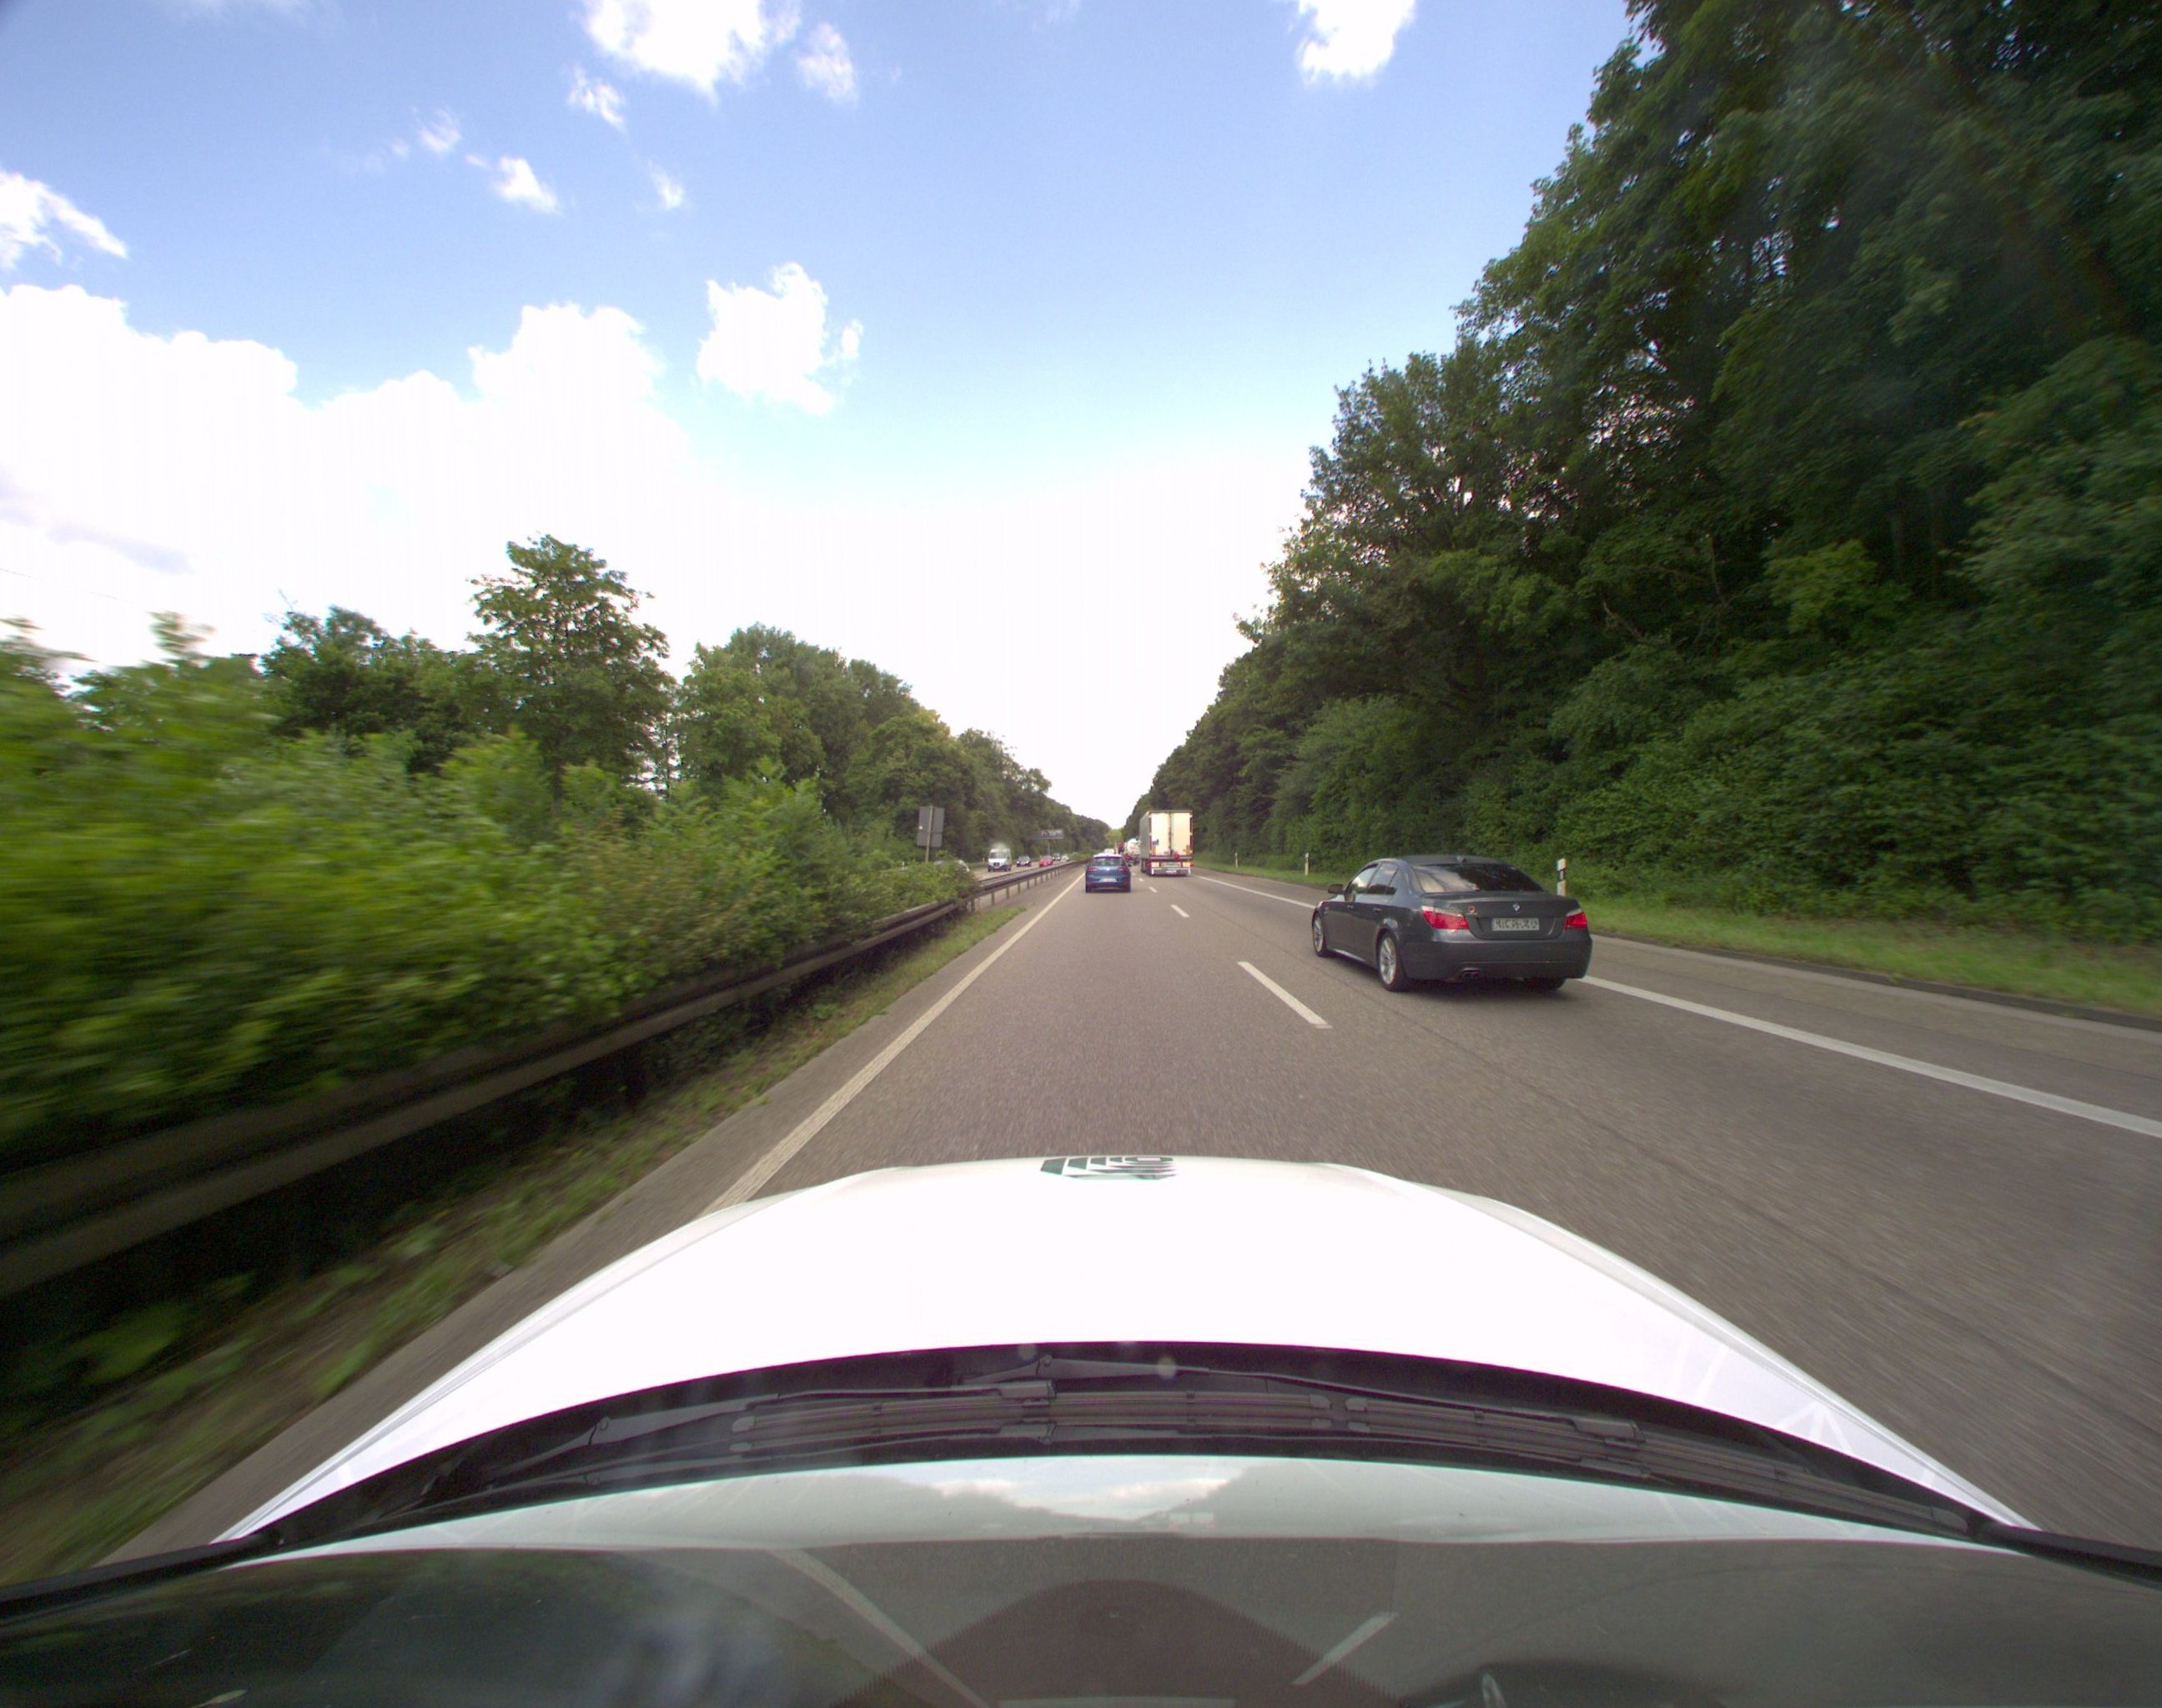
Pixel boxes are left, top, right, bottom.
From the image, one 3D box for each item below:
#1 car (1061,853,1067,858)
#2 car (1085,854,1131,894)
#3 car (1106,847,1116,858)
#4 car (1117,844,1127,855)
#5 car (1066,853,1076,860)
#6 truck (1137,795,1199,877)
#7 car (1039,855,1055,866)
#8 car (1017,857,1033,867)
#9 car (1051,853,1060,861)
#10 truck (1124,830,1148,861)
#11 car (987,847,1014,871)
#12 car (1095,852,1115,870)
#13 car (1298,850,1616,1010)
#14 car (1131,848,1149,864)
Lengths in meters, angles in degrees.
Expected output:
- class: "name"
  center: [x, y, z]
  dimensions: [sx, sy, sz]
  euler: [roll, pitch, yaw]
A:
- class: "car"
  center: [-5.095, 0.397, 239.011]
  dimensions: [1.531, 1.396, 3.512]
  euler: [-2, 0, 1]
- class: "car"
  center: [1.045, 0.729, 32.193]
  dimensions: [1.699, 1.470, 4.001]
  euler: [-1, 0, 1]
- class: "car"
  center: [6.325, -0.224, 172.068]
  dimensions: [1.987, 2.255, 4.441]
  euler: [-2, 0, -1]
- class: "car"
  center: [9.065, -0.942, 179.394]
  dimensions: [1.987, 2.327, 4.441]
  euler: [-2, 0, -1]
- class: "car"
  center: [-2.086, 0.500, 169.575]
  dimensions: [1.774, 1.519, 4.268]
  euler: [-2, 0, 1]
- class: "truck"
  center: [5.478, -1.101, 53.405]
  dimensions: [3.229, 4.716, 11.014]
  euler: [-2, 0, 3]
- class: "car"
  center: [-4.453, 0.829, 106.717]
  dimensions: [1.671, 1.454, 4.130]
  euler: [-1, 0, 3]
- class: "car"
  center: [-7.978, 1.129, 116.416]
  dimensions: [1.778, 1.478, 4.573]
  euler: [-1, 0, 3]
- class: "car"
  center: [-5.880, 0.710, 188.783]
  dimensions: [1.753, 1.593, 4.635]
  euler: [-2, 0, 1]
- class: "truck"
  center: [8.083, -1.137, 121.231]
  dimensions: [3.219, 4.386, 12.978]
  euler: [-1, 0, 2]
- class: "car"
  center: [-8.594, 0.528, 87.404]
  dimensions: [2.102, 2.423, 5.835]
  euler: [-1, 0, 3]
- class: "car"
  center: [2.136, 0.602, 70.746]
  dimensions: [1.659, 1.500, 4.154]
  euler: [-1, 0, 2]
- class: "car"
  center: [4.148, 0.701, 10.019]
  dimensions: [1.768, 1.475, 4.882]
  euler: [-1, 0, 2]
- class: "car"
  center: [6.749, 0.261, 93.171]
  dimensions: [1.881, 1.729, 4.002]
  euler: [-2, 0, 2]
